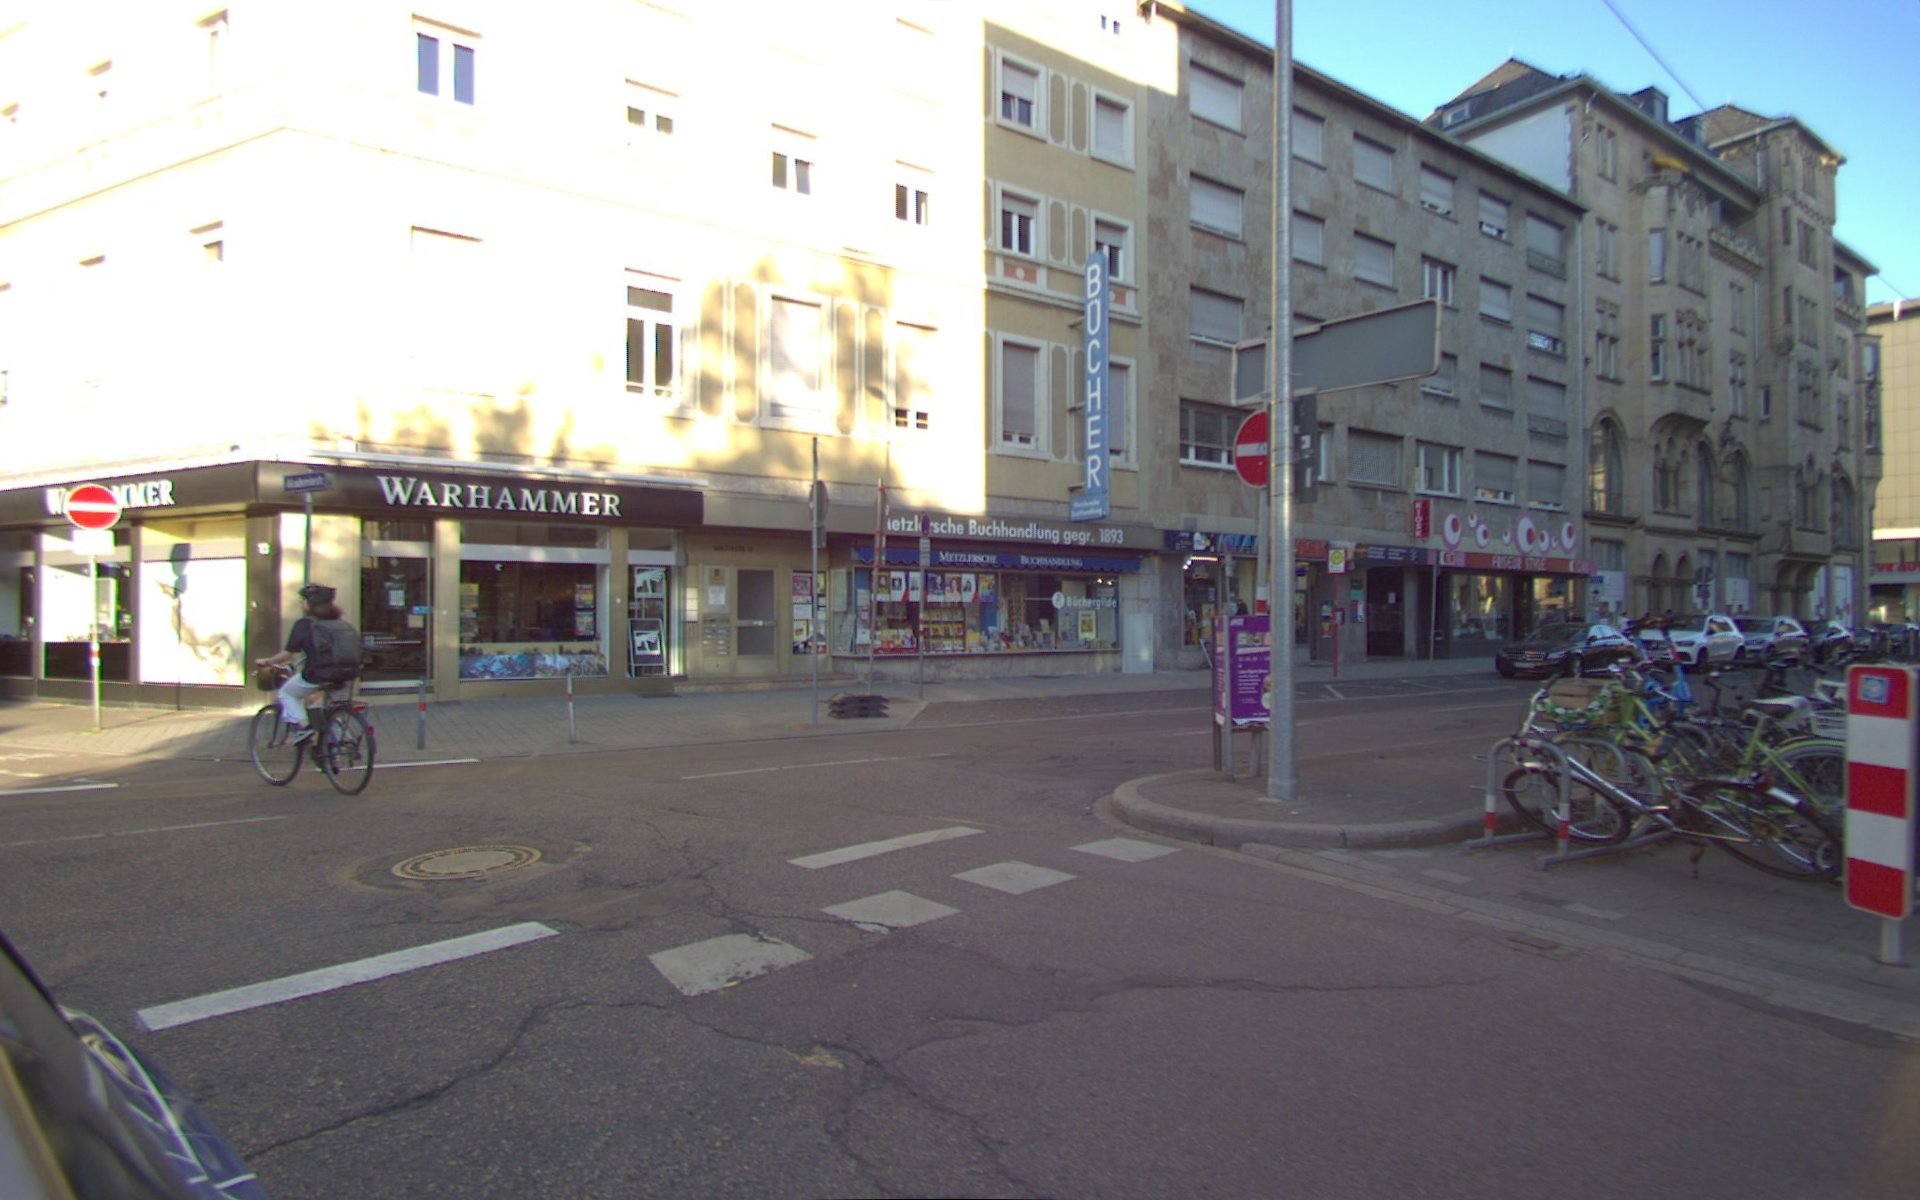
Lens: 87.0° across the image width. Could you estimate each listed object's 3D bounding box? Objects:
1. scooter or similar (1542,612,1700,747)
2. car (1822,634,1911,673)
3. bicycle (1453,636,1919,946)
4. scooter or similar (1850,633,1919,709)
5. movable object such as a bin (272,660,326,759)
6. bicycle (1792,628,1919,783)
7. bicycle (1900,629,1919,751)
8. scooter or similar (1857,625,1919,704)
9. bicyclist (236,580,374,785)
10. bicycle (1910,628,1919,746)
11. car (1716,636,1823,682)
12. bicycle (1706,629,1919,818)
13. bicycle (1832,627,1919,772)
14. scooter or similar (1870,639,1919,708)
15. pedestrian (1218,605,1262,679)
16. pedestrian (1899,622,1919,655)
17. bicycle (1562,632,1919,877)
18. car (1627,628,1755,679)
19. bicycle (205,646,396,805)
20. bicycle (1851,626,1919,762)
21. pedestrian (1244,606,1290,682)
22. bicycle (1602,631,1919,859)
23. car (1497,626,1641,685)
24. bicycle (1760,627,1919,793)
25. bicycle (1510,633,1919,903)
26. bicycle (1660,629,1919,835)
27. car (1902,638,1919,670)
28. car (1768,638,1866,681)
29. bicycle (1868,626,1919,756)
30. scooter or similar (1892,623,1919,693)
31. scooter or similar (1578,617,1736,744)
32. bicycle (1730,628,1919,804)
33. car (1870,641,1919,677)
[{"bbox_3d":[6.599,0.755,10.154,0.381,1.270,1.274,0,-1,-35],"label":"scooter or similar"},{"bbox_3d":[35.398,2.046,39.498,3.935,1.402,1.867,1,-2,-37],"label":"car"},{"bbox_3d":[3.768,0.843,5.209,0.655,1.264,2.145,0,-1,-38],"label":"bicycle"},{"bbox_3d":[12.932,0.956,13.688,0.381,0.999,1.274,0,-1,-35],"label":"scooter or similar"},{"bbox_3d":[-7.427,1.219,11.376,0.353,1.072,0.358,0,-1,15],"label":"movable object such as a bin"},{"bbox_3d":[8.193,0.875,8.342,0.505,1.264,1.984,0,-1,-35],"label":"bicycle"},{"bbox_3d":[10.670,0.934,9.977,0.505,1.264,1.984,0,-1,-35],"label":"bicycle"},{"bbox_3d":[15.463,1.053,16.788,1.249,1.252,0.517,0,-1,-31],"label":"scooter or similar"},{"bbox_3d":[-5.394,0.646,8.343,0.860,1.582,0.653,-1,-1,32],"label":"bicyclist"},{"bbox_3d":[11.134,0.937,10.356,0.505,1.264,1.984,0,-1,-35],"label":"bicycle"},{"bbox_3d":[27.053,1.937,33.795,3.935,1.402,1.867,1,-2,-37],"label":"car"},{"bbox_3d":[6.624,0.860,7.261,0.505,1.264,1.983,0,-1,-36],"label":"bicycle"},{"bbox_3d":[8.856,0.877,8.706,0.505,1.264,1.984,0,-1,-35],"label":"bicycle"},{"bbox_3d":[13.508,1.026,14.026,0.381,0.949,1.274,0,-1,-35],"label":"scooter or similar"},{"bbox_3d":[6.674,0.986,24.122,0.790,1.720,0.667,1,-2,-34],"label":"pedestrian"},{"bbox_3d":[42.817,1.719,45.415,0.396,1.439,0.924,1,-2,-38],"label":"pedestrian"},{"bbox_3d":[4.824,0.845,6.114,0.505,1.264,1.983,0,-1,-37],"label":"bicycle"},{"bbox_3d":[22.047,1.561,30.476,4.547,1.402,1.867,1,-2,-37],"label":"car"},{"bbox_3d":[-5.500,0.981,8.406,1.816,1.147,0.658,-1,-1,33],"label":"bicycle"},{"bbox_3d":[9.493,0.882,9.231,0.505,1.264,1.983,0,-1,-37],"label":"bicycle"},{"bbox_3d":[7.112,1.017,23.433,0.790,1.720,0.667,1,-2,-34],"label":"pedestrian"},{"bbox_3d":[5.313,0.851,6.486,0.505,1.264,1.984,0,-1,-33],"label":"bicycle"},{"bbox_3d":[15.919,1.393,26.406,3.935,1.402,1.867,1,-2,-37],"label":"car"},{"bbox_3d":[7.600,0.856,7.960,0.505,1.264,1.984,0,-1,-35],"label":"bicycle"},{"bbox_3d":[4.318,0.836,5.738,0.573,1.264,2.048,0,-1,-38],"label":"bicycle"},{"bbox_3d":[5.973,0.844,6.840,0.505,1.264,1.984,0,-1,-35],"label":"bicycle"},{"bbox_3d":[44.934,2.465,46.420,3.935,1.402,1.867,1,-2,-37],"label":"car"},{"bbox_3d":[30.744,2.104,36.279,3.935,1.402,1.867,1,-2,-37],"label":"car"},{"bbox_3d":[9.996,0.893,9.597,0.505,1.264,1.984,0,-1,-35],"label":"bicycle"},{"bbox_3d":[17.095,1.017,17.927,1.249,1.190,0.517,0,-1,-31],"label":"scooter or similar"},{"bbox_3d":[7.131,0.790,10.397,0.381,1.221,1.274,0,-1,-35],"label":"scooter or similar"},{"bbox_3d":[7.122,0.858,7.663,0.505,1.264,1.984,0,-1,-35],"label":"bicycle"},{"bbox_3d":[39.830,2.438,42.374,3.935,1.402,1.867,1,-2,-37],"label":"car"}]
